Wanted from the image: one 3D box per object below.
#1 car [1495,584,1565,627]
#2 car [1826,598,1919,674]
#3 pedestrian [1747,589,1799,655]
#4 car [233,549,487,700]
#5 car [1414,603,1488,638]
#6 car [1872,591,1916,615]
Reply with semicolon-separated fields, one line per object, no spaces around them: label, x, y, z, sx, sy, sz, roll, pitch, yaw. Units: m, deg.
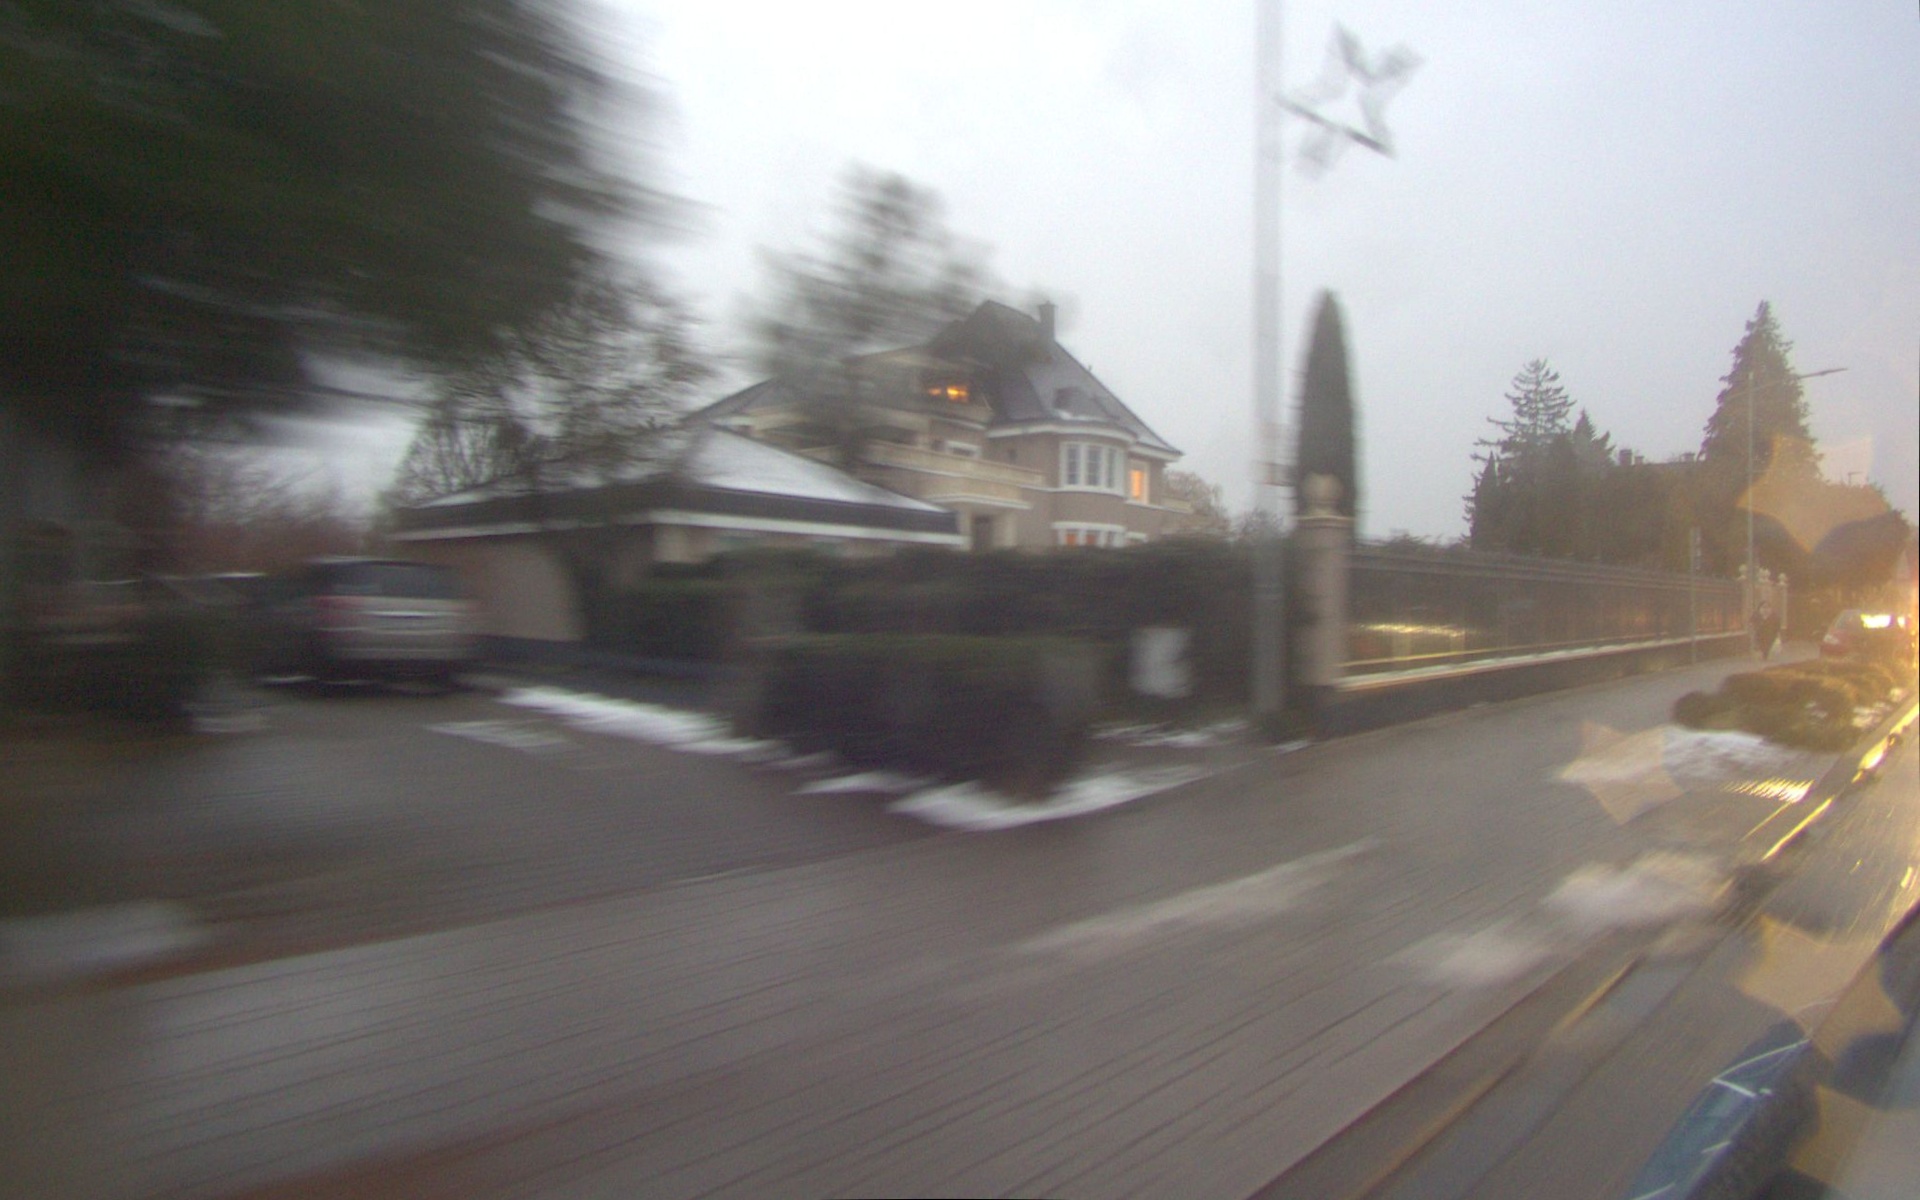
car;23.801;0.196;42.174;1.937;1.683;4.171;0;0;38
car;21.559;0.789;23.635;3.334;1.558;1.651;0;3;-44
pedestrian;22.529;0.578;28.055;0.988;1.763;1.039;2;1;45
car;-7.937;0.302;13.236;3.988;1.666;1.864;0;-2;45
car;21.085;0.849;43.386;1.804;1.392;3.939;0;0;42
car;68.319;0.208;74.079;1.765;1.638;3.824;-1;0;35
